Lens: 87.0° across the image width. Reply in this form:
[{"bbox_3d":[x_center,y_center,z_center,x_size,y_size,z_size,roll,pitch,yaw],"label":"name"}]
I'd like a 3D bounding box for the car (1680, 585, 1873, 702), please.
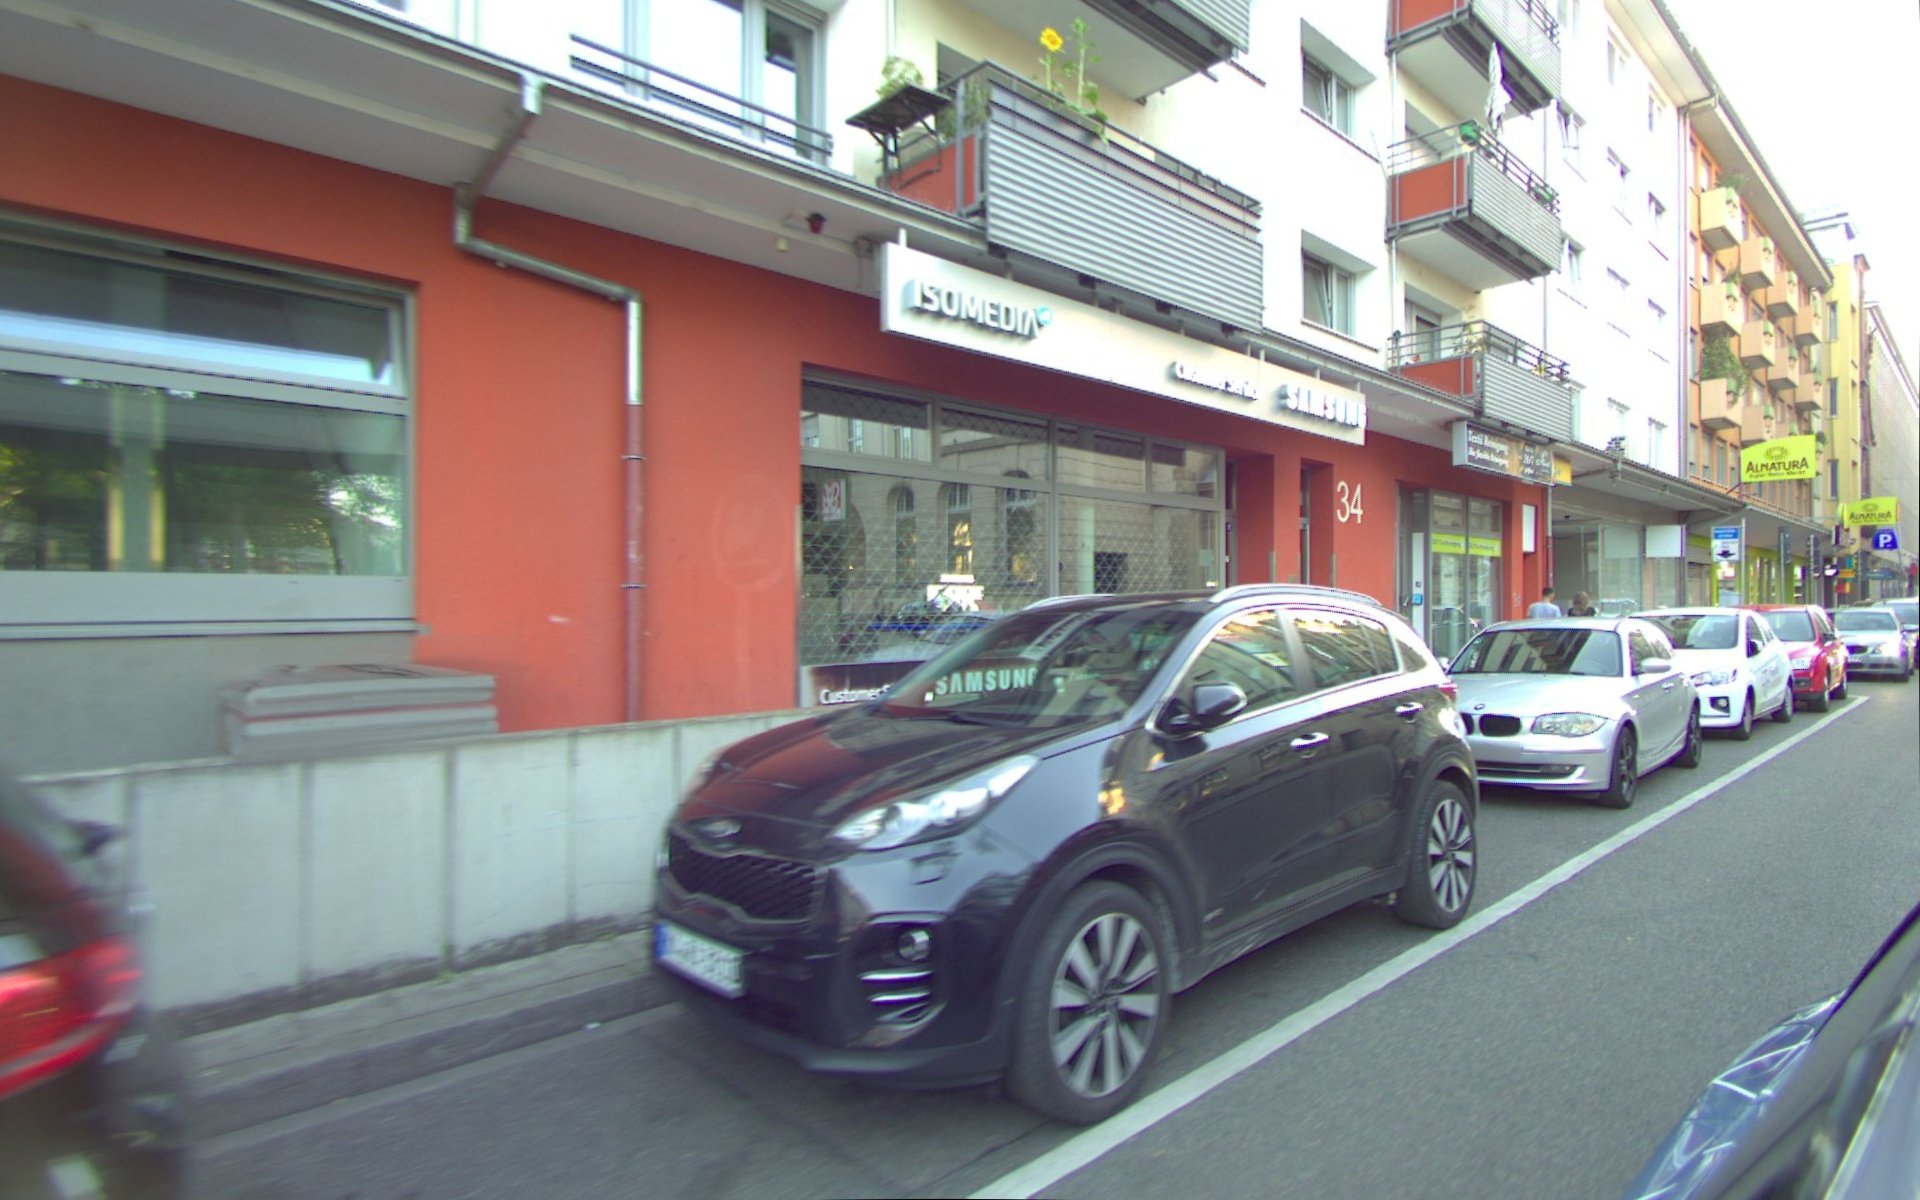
[{"bbox_3d":[12.589,0.622,15.495,4.575,1.532,1.713,1,-3,-44],"label":"car"}]

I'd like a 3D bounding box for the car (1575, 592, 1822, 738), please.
[{"bbox_3d":[9.244,0.723,12.549,3.978,1.532,1.608,0,-3,-42],"label":"car"}]

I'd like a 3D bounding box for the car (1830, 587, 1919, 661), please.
[{"bbox_3d":[22.417,0.549,24.024,4.404,1.631,1.798,0,-3,-38],"label":"car"}]

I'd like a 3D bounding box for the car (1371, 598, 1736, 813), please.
[{"bbox_3d":[5.500,0.770,9.101,4.385,1.471,1.699,1,-3,-44],"label":"car"}]

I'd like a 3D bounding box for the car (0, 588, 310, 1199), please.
[{"bbox_3d":[-3.349,0.769,0.669,4.708,1.522,1.767,0,-3,-42],"label":"car"}]

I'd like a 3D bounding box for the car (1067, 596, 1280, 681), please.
[{"bbox_3d":[3.919,0.622,18.270,3.929,1.353,1.743,0,0,-40],"label":"car"}]

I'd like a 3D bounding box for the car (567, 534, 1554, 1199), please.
[{"bbox_3d":[0.896,0.723,4.609,4.708,1.663,1.766,0,-3,-43],"label":"car"}]

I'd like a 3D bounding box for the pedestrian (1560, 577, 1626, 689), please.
[{"bbox_3d":[9.901,0.499,15.835,0.643,1.681,0.649,0,2,-40],"label":"pedestrian"}]

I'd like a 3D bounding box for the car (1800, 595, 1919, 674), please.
[{"bbox_3d":[18.481,0.670,20.496,4.604,1.433,1.737,1,-3,-44],"label":"car"}]

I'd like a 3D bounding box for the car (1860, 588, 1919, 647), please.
[{"bbox_3d":[28.745,0.519,30.586,4.674,1.690,1.754,0,-3,-42],"label":"car"}]

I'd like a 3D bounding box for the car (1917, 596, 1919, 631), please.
[{"bbox_3d":[41.519,0.528,42.580,1.691,1.429,4.564,-3,-3,45],"label":"car"}]

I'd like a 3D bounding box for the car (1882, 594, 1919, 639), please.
[{"bbox_3d":[32.347,0.533,33.884,4.674,1.433,1.693,0,-3,-42],"label":"car"}]

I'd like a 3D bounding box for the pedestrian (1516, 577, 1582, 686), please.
[{"bbox_3d":[9.529,0.493,16.373,0.780,1.681,0.649,0,2,-40],"label":"pedestrian"}]
